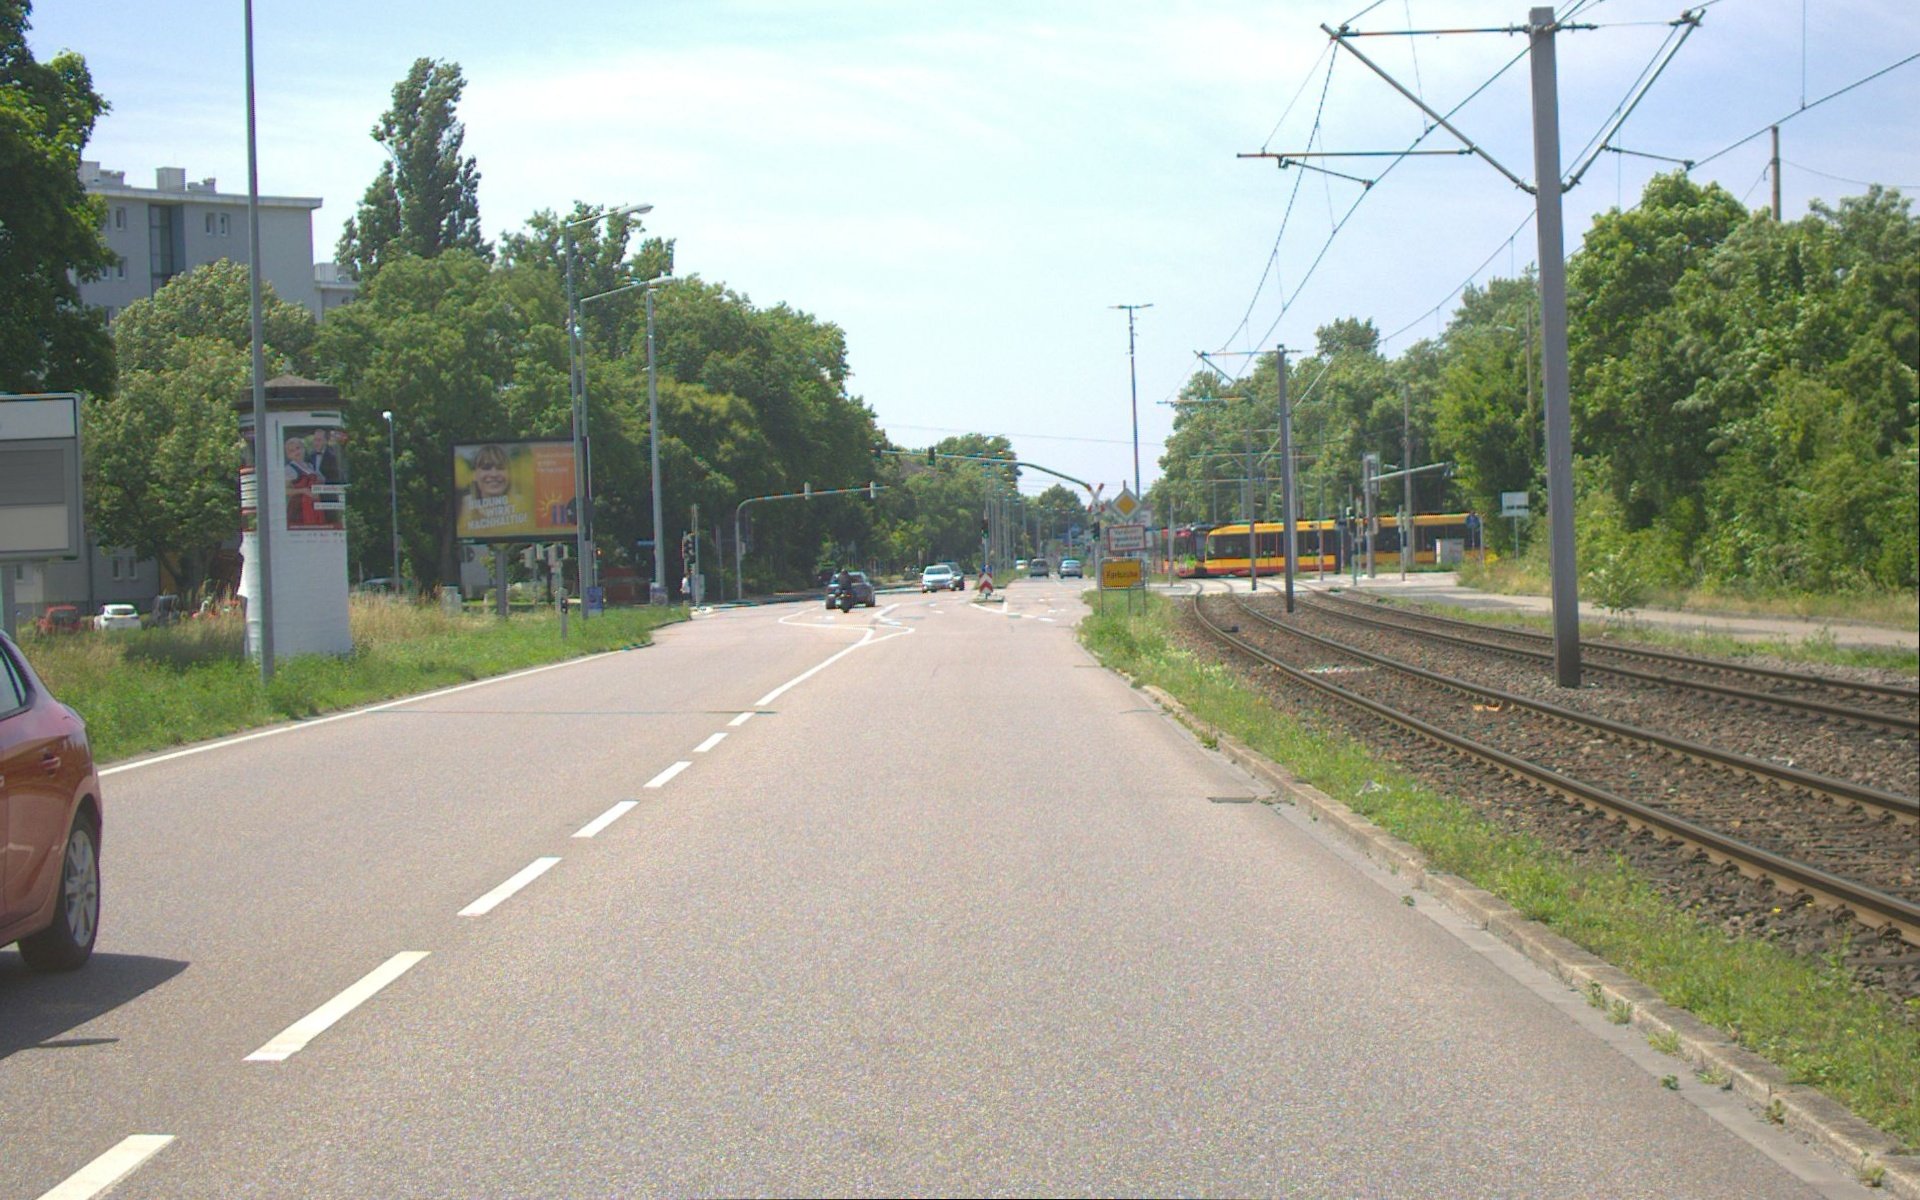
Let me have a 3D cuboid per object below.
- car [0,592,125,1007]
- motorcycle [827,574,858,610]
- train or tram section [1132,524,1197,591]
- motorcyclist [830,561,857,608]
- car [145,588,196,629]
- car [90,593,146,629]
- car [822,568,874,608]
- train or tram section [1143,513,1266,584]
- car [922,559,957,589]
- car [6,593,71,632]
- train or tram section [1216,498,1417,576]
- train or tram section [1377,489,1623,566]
[{"bbox_3d":[-4.098,0.694,11.478,1.679,1.394,4.000,-1,1,-1],"label":"car"},{"bbox_3d":[-4.105,-0.282,120.222,0.847,1.251,2.449,-1,0,3],"label":"motorcycle"},{"bbox_3d":[13.694,-2.778,230.961,2.914,3.799,13.074,-1,-2,-3],"label":"train or tram section"},{"bbox_3d":[-4.083,-0.541,120.443,0.790,1.637,1.211,-1,0,3],"label":"motorcyclist"},{"bbox_3d":[-35.995,0.376,156.741,1.704,1.794,4.001,-1,0,-21],"label":"car"},{"bbox_3d":[-38.217,0.507,156.000,1.704,1.587,4.001,-1,0,-25],"label":"car"},{"bbox_3d":[-4.365,-0.480,135.024,1.906,1.494,4.630,-1,0,0],"label":"car"},{"bbox_3d":[15.526,-3.231,219.819,2.913,3.799,13.458,0,-2,-18],"label":"train or tram section"},{"bbox_3d":[-1.130,-1.452,190.666,1.784,1.623,3.865,-2,1,2],"label":"car"},{"bbox_3d":[-41.529,0.571,154.885,1.846,1.662,4.000,-2,0,-29],"label":"car"},{"bbox_3d":[21.618,-3.767,209.834,2.915,3.906,14.036,1,-3,-40],"label":"train or tram section"},{"bbox_3d":[31.770,-4.235,202.633,13.933,3.906,2.920,-2,-3,21],"label":"train or tram section"}]
